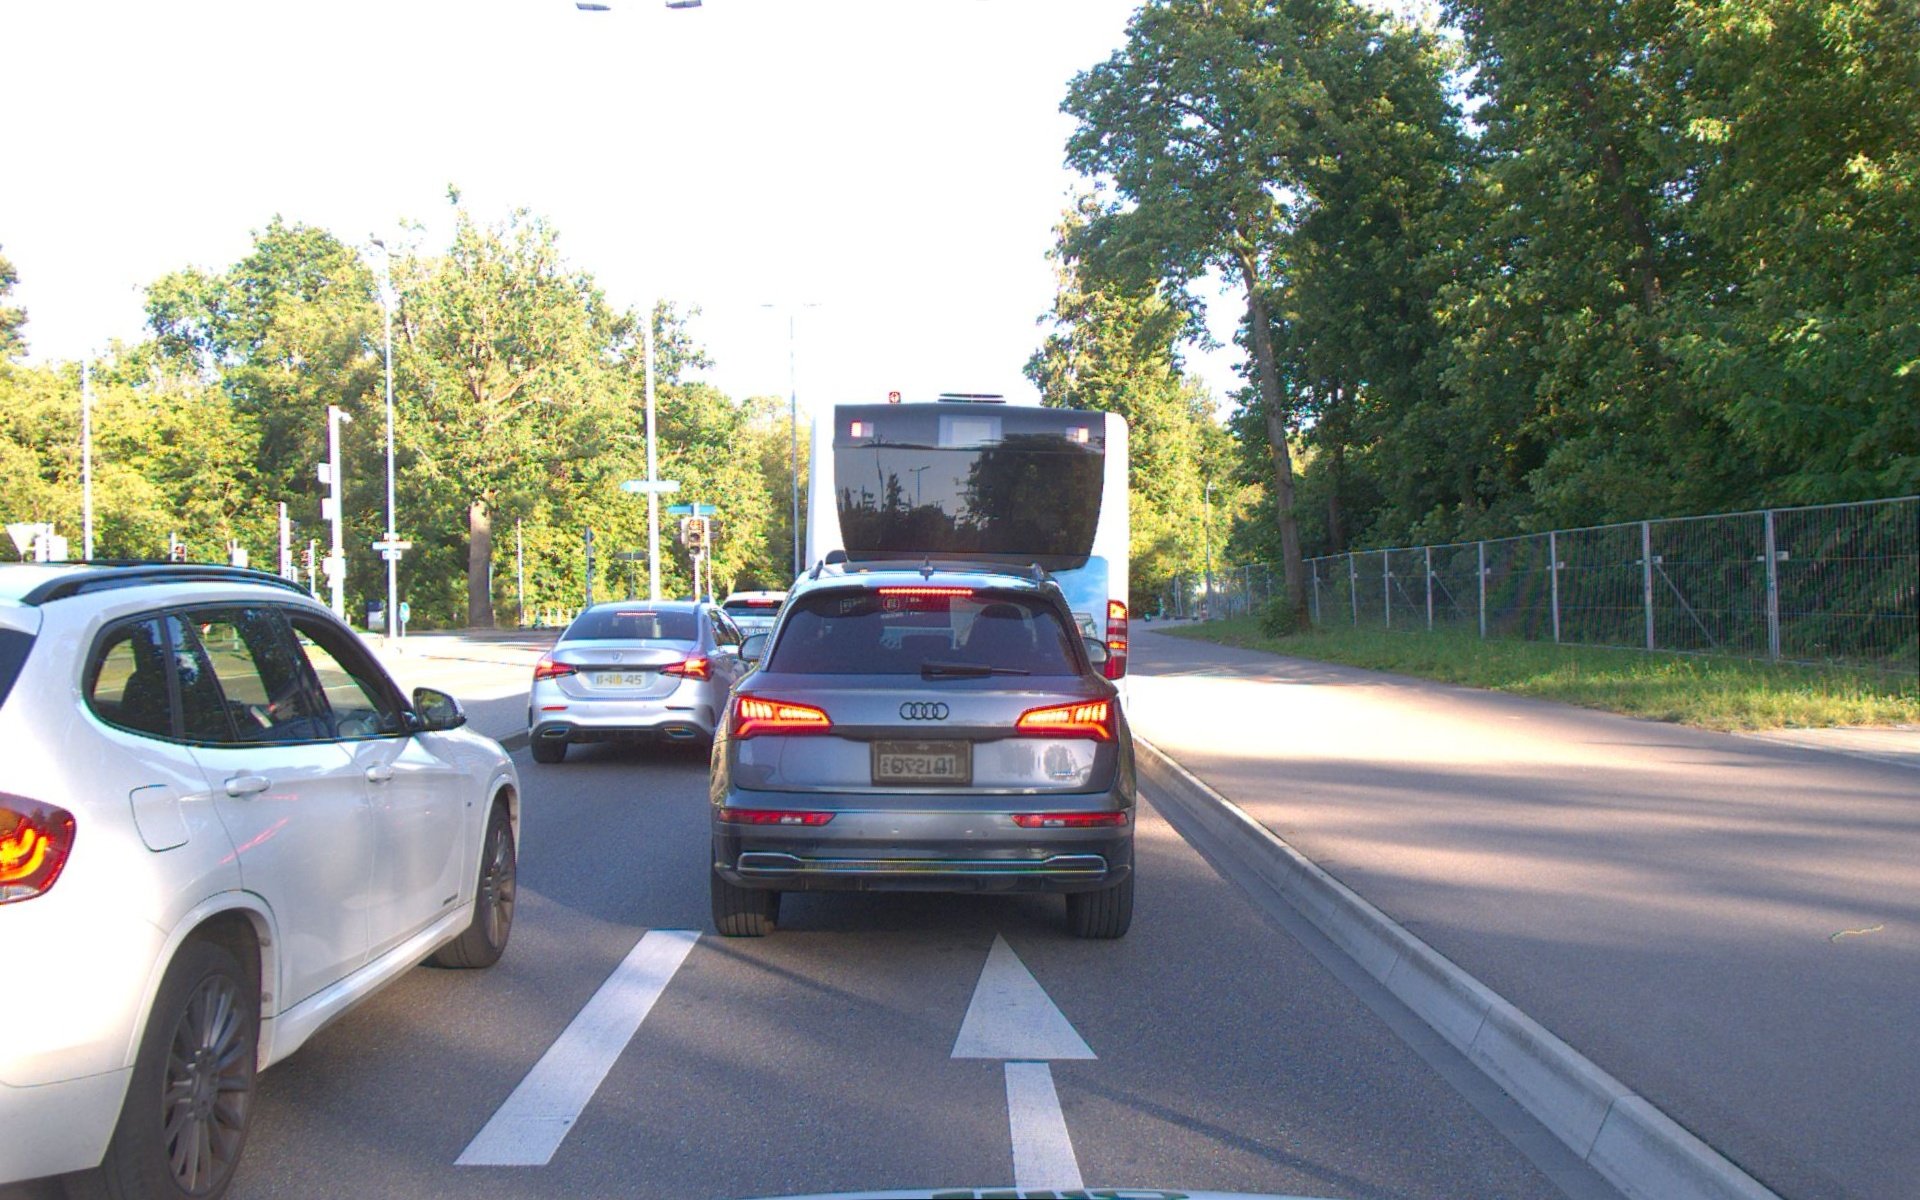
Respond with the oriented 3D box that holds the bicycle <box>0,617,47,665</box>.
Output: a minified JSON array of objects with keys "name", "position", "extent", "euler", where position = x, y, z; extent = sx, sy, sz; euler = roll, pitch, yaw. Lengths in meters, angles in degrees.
[{"name":"bicycle","position":[-24.151,1.034,42.330],"extent":[0.458,1.198,2.003],"euler":[1,0,-1]}]

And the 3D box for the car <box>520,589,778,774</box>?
[{"name":"car","position":[-2.813,0.664,15.868],"extent":[1.749,1.469,4.277],"euler":[1,1,-2]}]

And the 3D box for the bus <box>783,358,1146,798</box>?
[{"name":"bus","position":[0.053,-0.202,15.132],"extent":[2.623,3.196,5.882],"euler":[1,1,0]}]

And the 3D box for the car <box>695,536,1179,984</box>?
[{"name":"car","position":[-0.115,0.588,8.344],"extent":[1.830,1.693,4.000],"euler":[1,1,-1]}]

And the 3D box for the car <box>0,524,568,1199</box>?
[{"name":"car","position":[-2.563,0.631,5.119],"extent":[1.683,1.608,4.433],"euler":[1,1,-1]}]

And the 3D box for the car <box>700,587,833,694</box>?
[{"name":"car","position":[-3.134,0.607,27.481],"extent":[1.771,1.599,4.000],"euler":[1,1,-1]}]

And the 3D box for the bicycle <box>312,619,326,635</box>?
[{"name":"bicycle","position":[-24.741,1.030,63.833],"extent":[0.261,0.592,0.838],"euler":[1,0,-6]}]

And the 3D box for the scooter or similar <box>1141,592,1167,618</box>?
[{"name":"scooter or similar","position":[9.149,0.241,78.082],"extent":[1.158,1.195,0.659],"euler":[1,0,10]}]

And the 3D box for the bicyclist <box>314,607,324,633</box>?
[{"name":"bicyclist","position":[-24.734,0.768,63.809],"extent":[0.268,0.979,0.240],"euler":[1,-1,-7]}]

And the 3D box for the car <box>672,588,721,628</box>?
[{"name":"car","position":[-11.859,0.356,74.605],"extent":[1.955,1.691,3.995],"euler":[-2,0,-6]}]

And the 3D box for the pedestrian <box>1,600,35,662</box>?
[{"name":"pedestrian","position":[-24.143,0.791,42.398],"extent":[0.472,1.589,0.648],"euler":[1,-1,-1]}]
